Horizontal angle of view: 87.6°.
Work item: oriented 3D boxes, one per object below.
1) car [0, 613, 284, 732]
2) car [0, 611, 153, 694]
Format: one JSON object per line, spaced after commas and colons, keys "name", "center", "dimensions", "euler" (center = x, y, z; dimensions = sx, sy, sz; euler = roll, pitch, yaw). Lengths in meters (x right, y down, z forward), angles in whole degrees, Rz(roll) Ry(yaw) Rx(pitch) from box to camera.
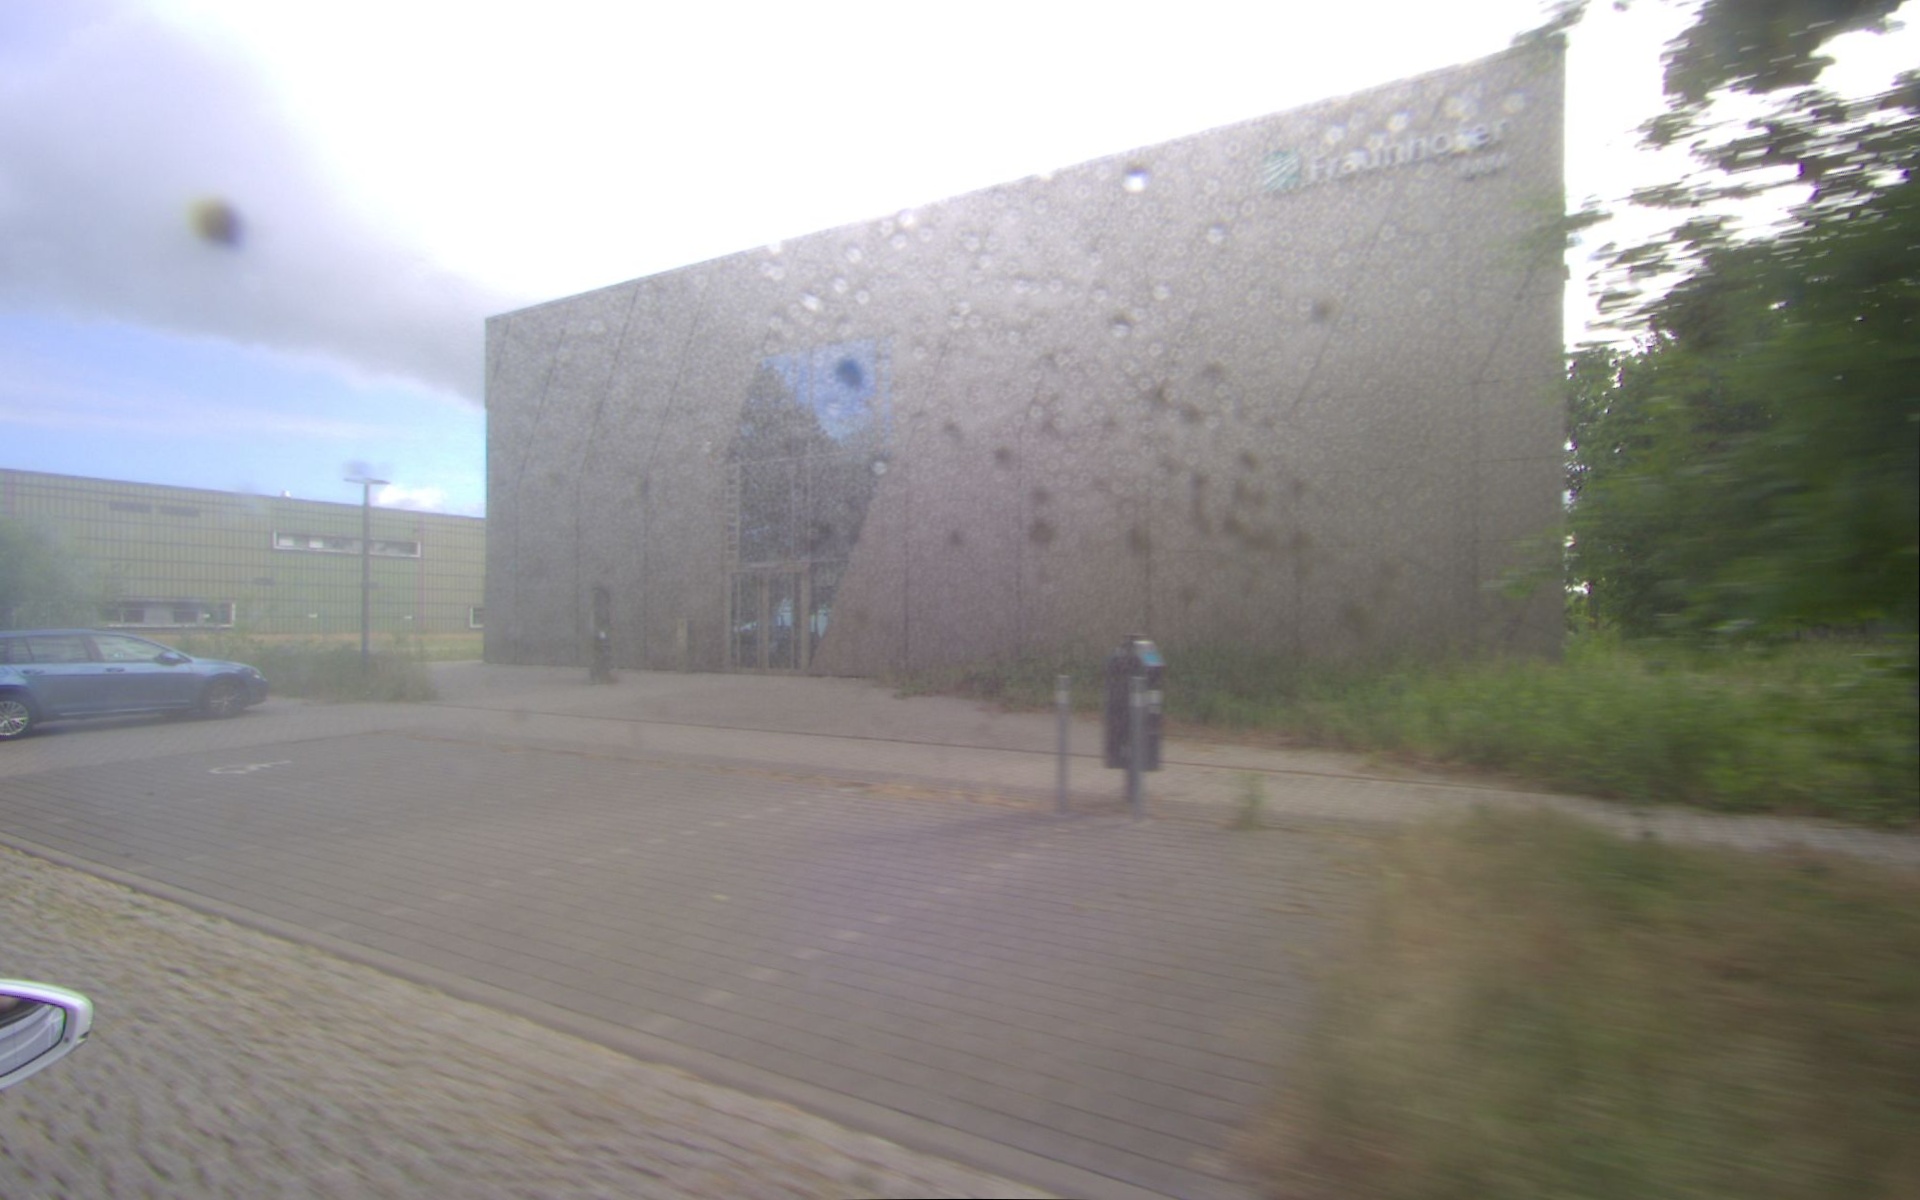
{"name": "car", "center": [-13.059, 0.997, 14.973], "dimensions": [1.969, 1.552, 4.514], "euler": [0, 0, 28]}
{"name": "car", "center": [-18.819, 1.004, 19.458], "dimensions": [1.971, 1.552, 4.509], "euler": [0, 0, 32]}
